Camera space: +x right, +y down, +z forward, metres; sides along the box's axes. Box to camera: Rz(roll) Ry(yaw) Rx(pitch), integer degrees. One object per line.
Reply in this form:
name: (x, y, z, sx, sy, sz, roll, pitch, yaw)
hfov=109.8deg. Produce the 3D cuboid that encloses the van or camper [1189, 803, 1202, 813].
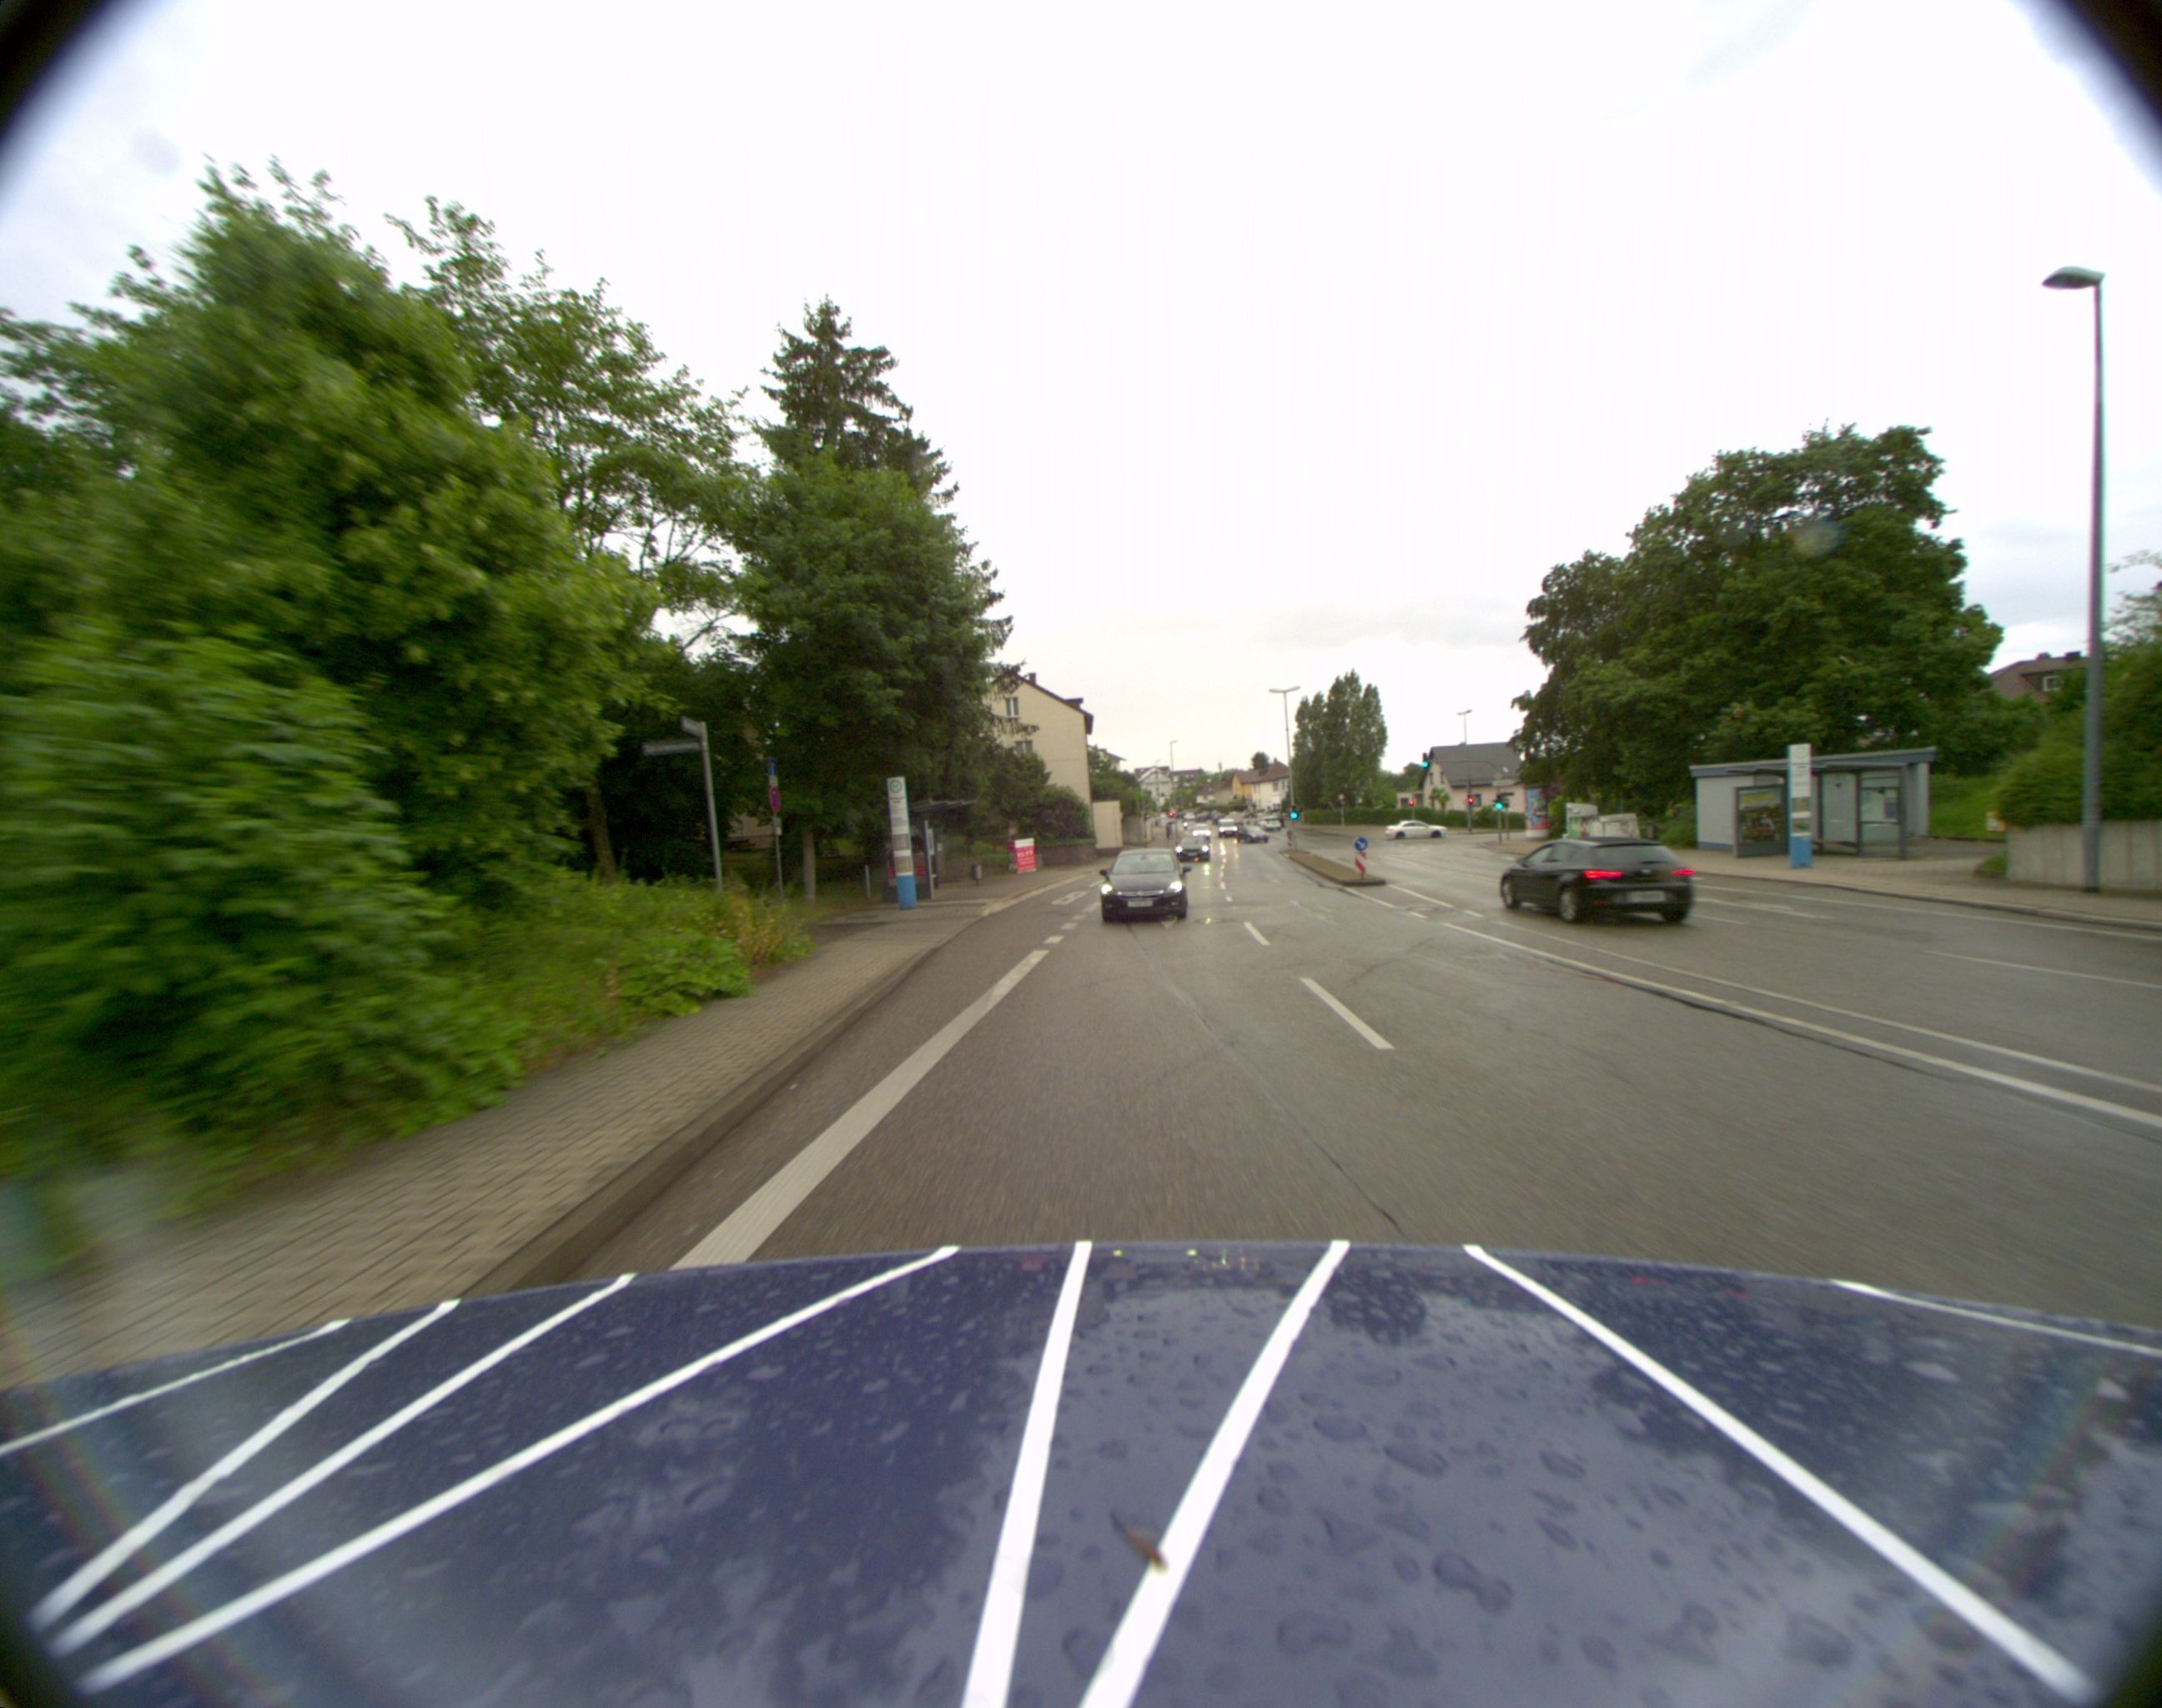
van or camper: (26.083, -10.391, 172.721, 2.189, 2.003, 5.130, -3, 5, 1)

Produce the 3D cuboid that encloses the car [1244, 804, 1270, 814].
car: (31.541, -8.123, 136.286, 4.108, 1.413, 1.883, -5, 4, 2)

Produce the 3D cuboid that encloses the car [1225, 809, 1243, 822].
car: (21.697, -5.506, 107.814, 1.903, 1.674, 4.477, -3, 4, 5)

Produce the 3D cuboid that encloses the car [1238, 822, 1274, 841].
car: (15.613, -2.057, 67.959, 1.840, 1.479, 4.054, -4, 4, -5)

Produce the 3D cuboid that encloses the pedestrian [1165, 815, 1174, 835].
pedestrian: (9.087, -3.040, 78.394, 0.798, 2.003, 0.734, -3, 5, 8)

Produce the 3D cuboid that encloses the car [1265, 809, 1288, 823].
car: (25.279, -4.942, 98.404, 1.809, 1.661, 4.595, -3, 5, 2)

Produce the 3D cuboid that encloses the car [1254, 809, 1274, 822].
car: (25.266, -5.402, 105.055, 1.809, 1.560, 4.140, -3, 5, 2)

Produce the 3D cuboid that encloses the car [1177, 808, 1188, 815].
car: (22.335, -9.326, 166.971, 1.857, 1.456, 3.997, -3, 4, 1)

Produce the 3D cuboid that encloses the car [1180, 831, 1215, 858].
car: (6.930, -0.541, 44.918, 1.839, 1.449, 4.003, -3, 0, 10)

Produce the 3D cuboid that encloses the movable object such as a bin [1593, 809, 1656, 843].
movable object such as a bin: (25.833, -1.328, 36.166, 2.061, 1.506, 1.345, -2, 2, 13)

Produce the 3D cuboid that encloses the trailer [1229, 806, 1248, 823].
trailer: (21.438, -5.458, 103.559, 1.900, 2.167, 4.034, -3, 3, 2)

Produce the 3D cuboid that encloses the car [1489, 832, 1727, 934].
car: (9.192, 0.398, 13.750, 1.895, 1.479, 4.235, -2, 2, 10)

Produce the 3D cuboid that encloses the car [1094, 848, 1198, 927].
car: (1.574, 0.644, 16.862, 1.839, 1.390, 4.002, -2, 2, 11)

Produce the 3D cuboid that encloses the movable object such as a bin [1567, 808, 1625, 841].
movable object such as a bin: (26.509, -1.535, 39.166, 2.061, 1.560, 1.582, -2, 2, 13)

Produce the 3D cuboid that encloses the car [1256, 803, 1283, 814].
car: (31.329, -7.521, 126.222, 3.996, 1.412, 1.883, -6, 4, 2)

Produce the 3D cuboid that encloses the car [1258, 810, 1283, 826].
car: (22.280, -4.275, 89.672, 1.828, 1.648, 4.463, -2, 4, 1)

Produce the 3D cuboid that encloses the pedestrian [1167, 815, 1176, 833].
pedestrian: (9.563, -3.160, 80.348, 0.795, 1.771, 1.011, -1, 5, 8)

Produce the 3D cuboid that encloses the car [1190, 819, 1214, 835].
car: (12.302, -2.749, 77.651, 1.840, 1.473, 3.998, -3, 3, 1)

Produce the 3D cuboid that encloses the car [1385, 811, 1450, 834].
car: (27.205, -2.561, 61.569, 4.642, 1.520, 1.915, -2, 5, 17)

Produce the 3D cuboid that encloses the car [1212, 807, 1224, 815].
car: (26.288, -8.254, 145.976, 1.809, 1.408, 3.997, -3, 4, 2)

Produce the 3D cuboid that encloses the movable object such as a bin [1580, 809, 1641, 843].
movable object such as a bin: (26.169, -1.388, 37.609, 2.061, 1.560, 1.582, -2, 2, 13)

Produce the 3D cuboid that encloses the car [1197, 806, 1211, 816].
car: (22.081, -7.714, 136.852, 1.998, 1.566, 3.997, -2, 5, 3)

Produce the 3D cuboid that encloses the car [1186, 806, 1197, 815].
car: (22.019, -8.718, 151.482, 1.840, 1.548, 4.767, -2, 5, 4)

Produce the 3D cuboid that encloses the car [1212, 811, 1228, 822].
car: (21.632, -5.920, 118.469, 1.845, 1.544, 4.381, -2, 4, 3)

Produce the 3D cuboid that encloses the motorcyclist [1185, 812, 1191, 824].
motorcyclist: (14.842, -5.047, 105.244, 0.761, 1.594, 0.808, -3, 5, 6)

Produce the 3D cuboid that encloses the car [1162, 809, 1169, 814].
car: (26.043, -13.061, 233.736, 1.837, 1.522, 3.997, -3, 4, 2)

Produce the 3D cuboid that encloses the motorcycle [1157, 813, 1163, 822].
motorcycle: (12.650, -5.815, 121.486, 0.694, 1.318, 2.477, -3, 4, 1)

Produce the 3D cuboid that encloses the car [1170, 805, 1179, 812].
car: (21.551, -10.598, 175.316, 1.716, 1.495, 3.997, -3, 4, 1)

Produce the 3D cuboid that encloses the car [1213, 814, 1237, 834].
car: (15.197, -3.190, 80.340, 1.955, 1.861, 4.744, -2, 4, 5)
